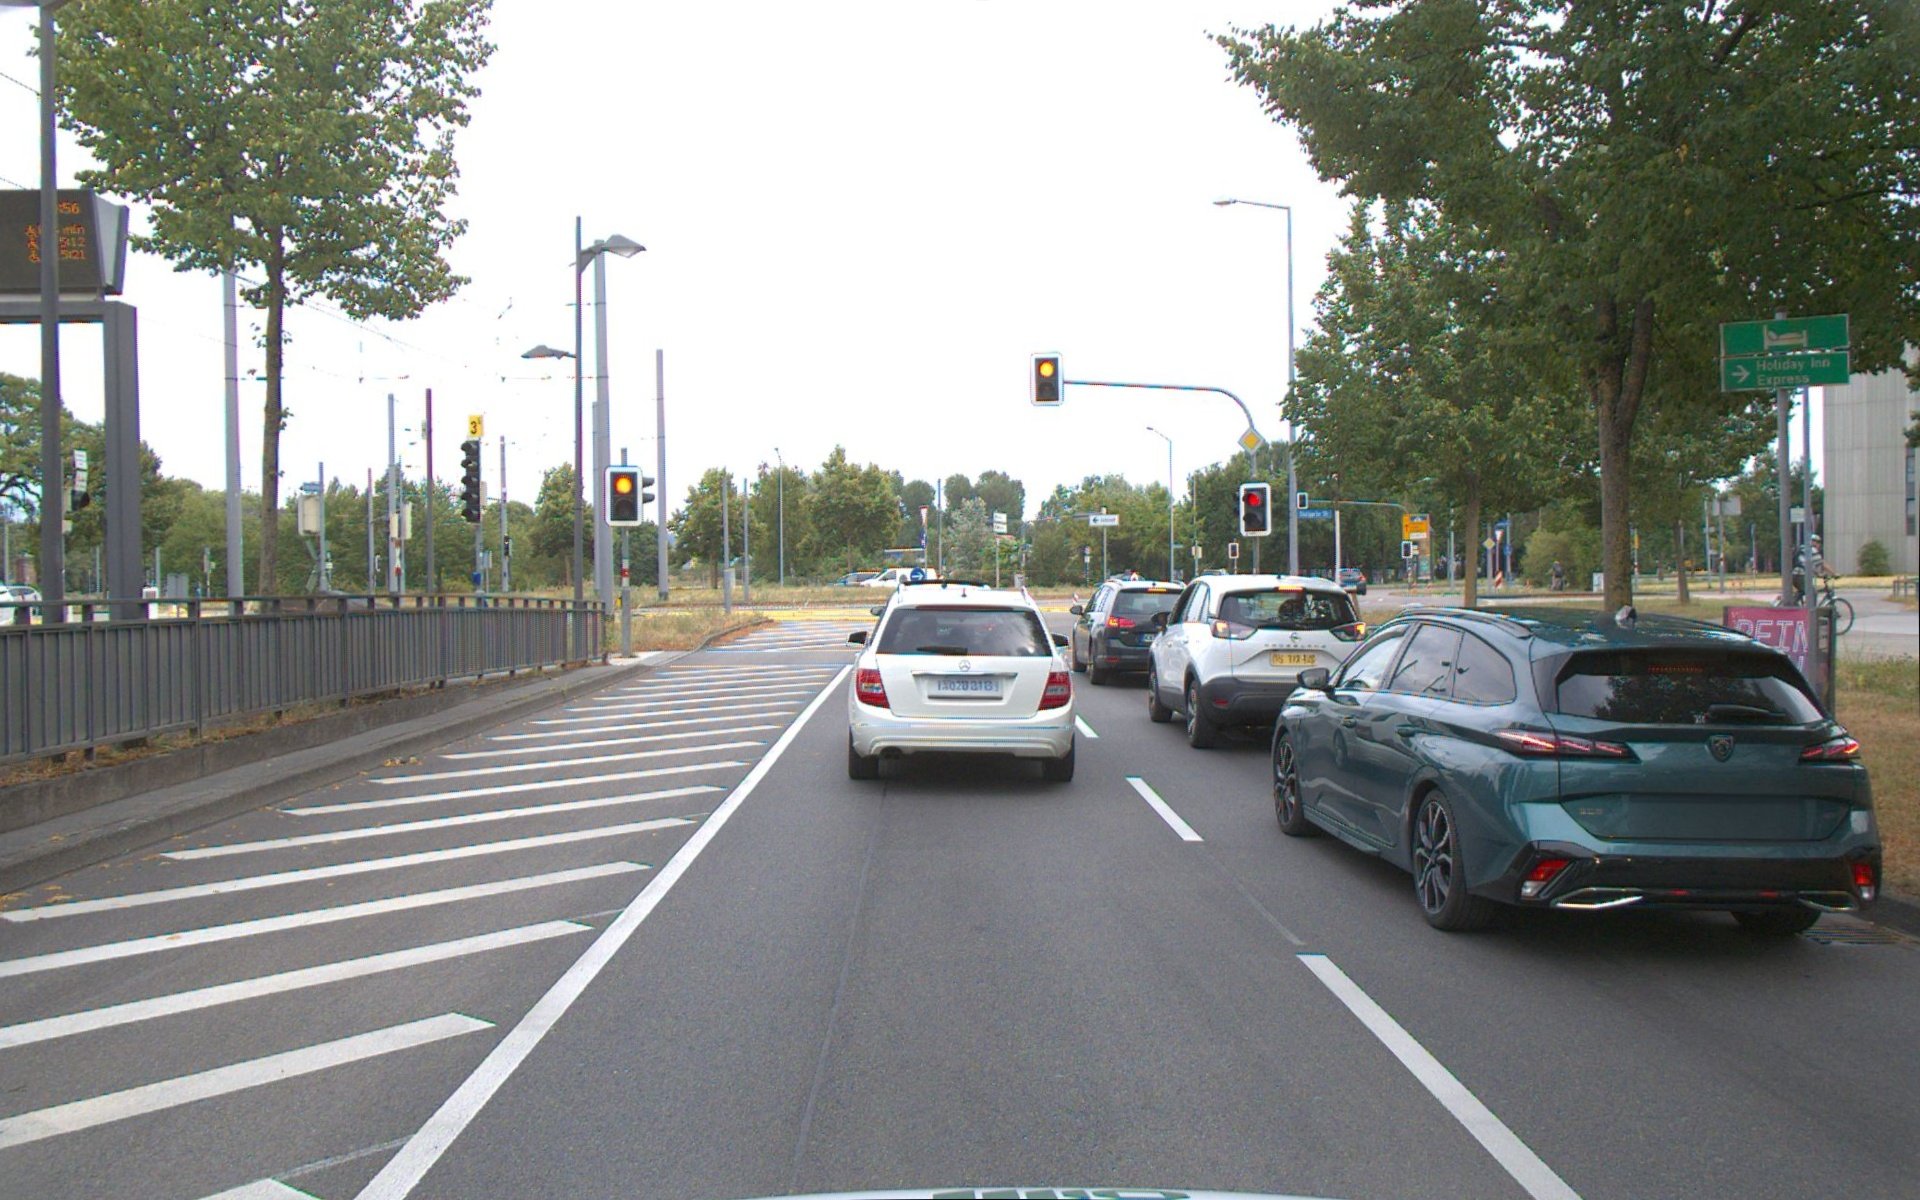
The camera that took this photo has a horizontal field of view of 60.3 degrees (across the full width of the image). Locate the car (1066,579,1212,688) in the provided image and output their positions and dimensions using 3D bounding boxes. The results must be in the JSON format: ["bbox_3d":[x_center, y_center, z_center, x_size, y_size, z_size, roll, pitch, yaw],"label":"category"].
[{"bbox_3d":[2.588,0.436,24.699,1.592,1.473,3.909,1,1,-3],"label":"car"}]

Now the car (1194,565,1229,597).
[{"bbox_3d":[14.926,-1.129,98.091,1.951,1.822,4.003,2,0,8],"label":"car"}]

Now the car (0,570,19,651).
[{"bbox_3d":[-21.212,0.213,34.929,1.969,1.646,4.349,-1,1,-26],"label":"car"}]

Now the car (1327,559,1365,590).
[{"bbox_3d":[21.685,-1.429,92.952,1.745,1.664,4.406,-1,1,9],"label":"car"}]

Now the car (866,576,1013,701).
[{"bbox_3d":[-0.324,0.429,21.673,1.738,1.473,3.909,1,1,-3],"label":"car"}]

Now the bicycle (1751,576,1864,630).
[{"bbox_3d":[16.224,0.056,31.664,1.895,1.001,0.564,-1,1,-2],"label":"bicycle"}]

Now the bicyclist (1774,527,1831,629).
[{"bbox_3d":[16.127,-0.422,31.672,0.714,1.918,0.734,-1,1,-1],"label":"bicyclist"}]

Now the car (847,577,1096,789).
[{"bbox_3d":[0.000,0.562,13.604,1.738,1.473,3.909,1,1,-3],"label":"car"}]

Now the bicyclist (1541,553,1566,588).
[{"bbox_3d":[31.103,-1.528,86.708,0.849,1.820,1.174,2,0,-2],"label":"bicyclist"}]

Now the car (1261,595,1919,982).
[{"bbox_3d":[2.940,0.732,8.679,1.751,1.457,4.309,0,1,-3],"label":"car"}]

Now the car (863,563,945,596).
[{"bbox_3d":[-3.608,-1.351,106.129,4.901,2.049,1.992,-1,1,-15],"label":"car"}]

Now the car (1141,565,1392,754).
[{"bbox_3d":[2.943,0.497,16.669,1.751,1.653,3.910,-1,1,-1],"label":"car"}]

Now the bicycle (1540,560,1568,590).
[{"bbox_3d":[31.114,-1.296,86.716,0.690,1.532,2.007,2,0,-1],"label":"bicycle"}]
